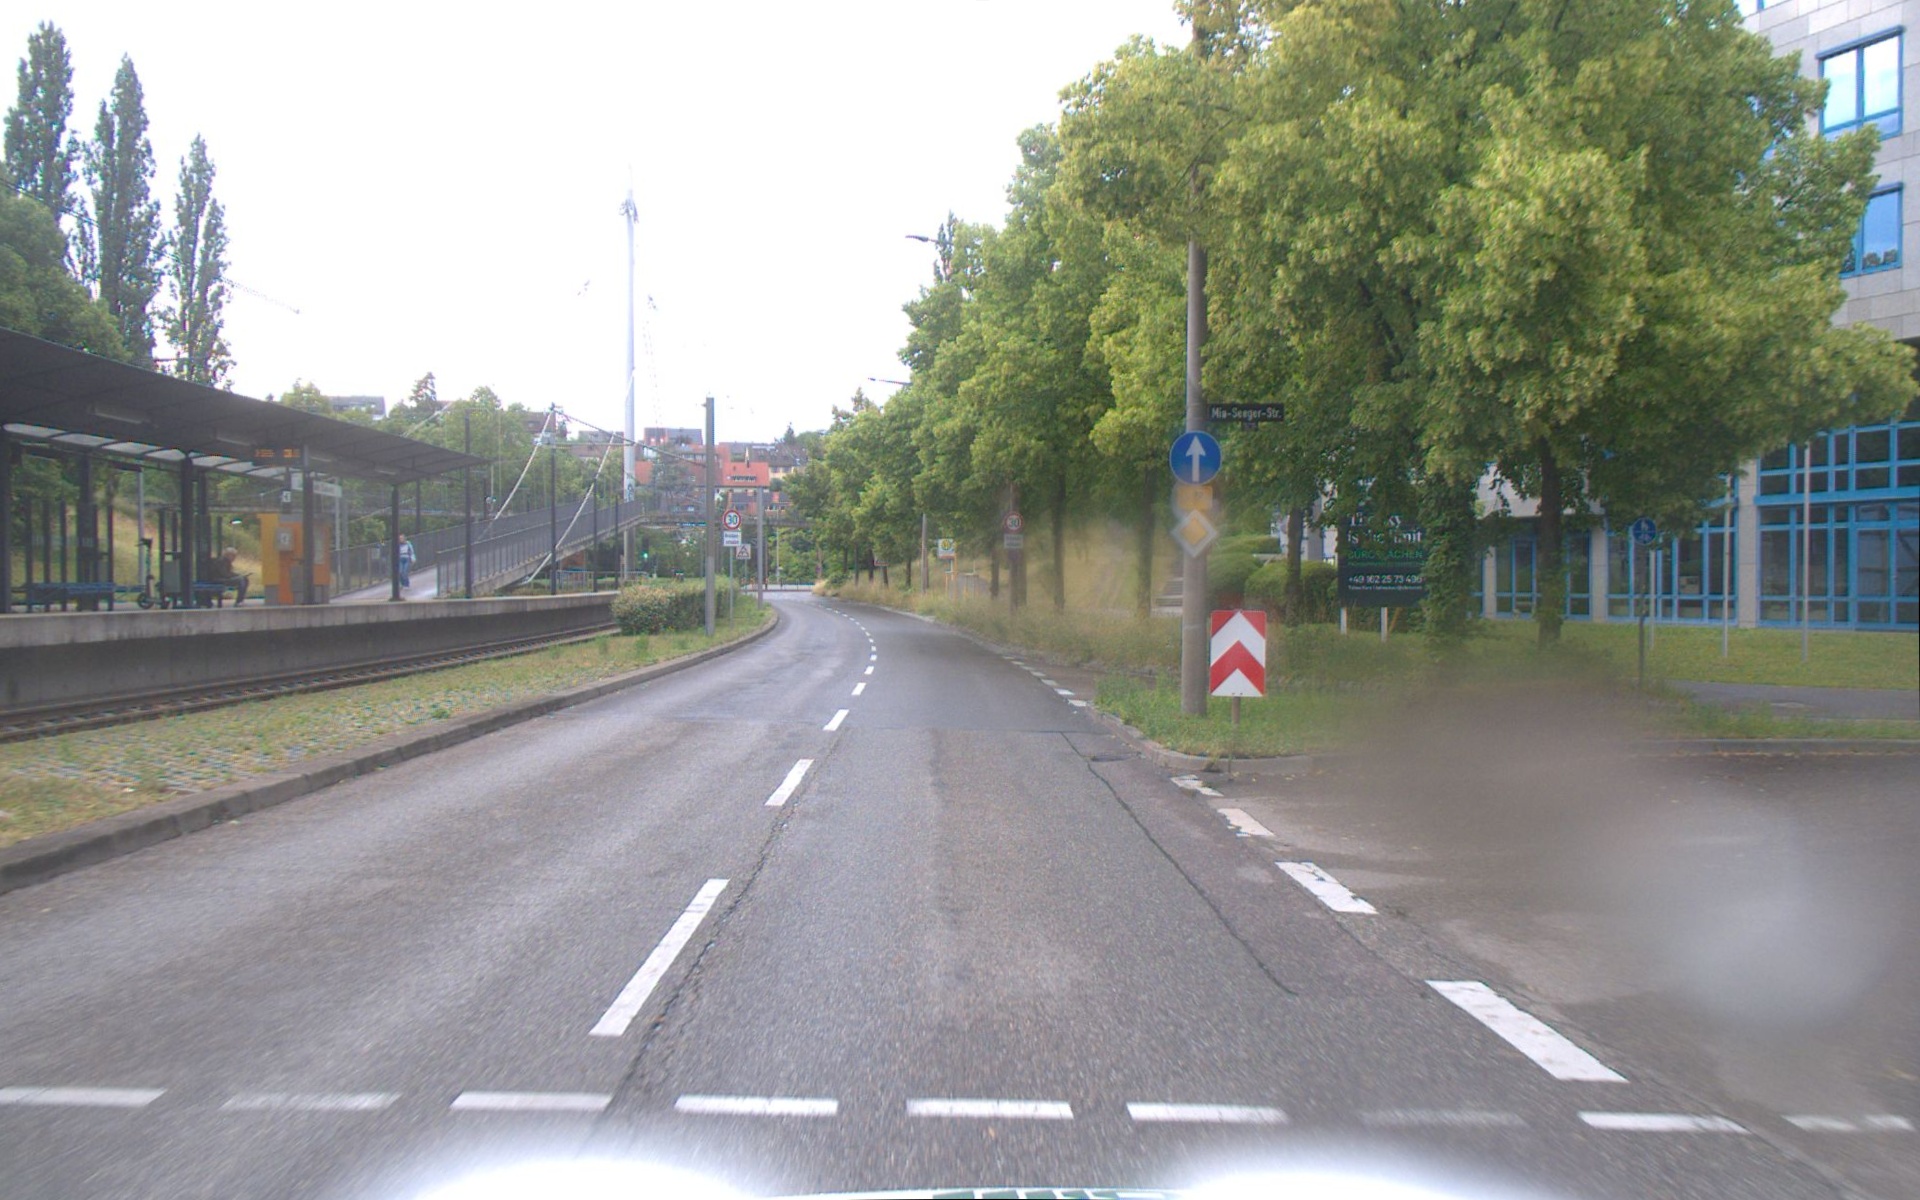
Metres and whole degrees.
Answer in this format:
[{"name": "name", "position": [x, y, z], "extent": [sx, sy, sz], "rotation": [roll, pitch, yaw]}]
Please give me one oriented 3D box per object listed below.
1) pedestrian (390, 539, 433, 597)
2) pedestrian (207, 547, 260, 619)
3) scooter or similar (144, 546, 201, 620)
[{"name": "pedestrian", "position": [-15.839, -0.909, 47.776], "extent": [0.917, 1.639, 1.026], "rotation": [1, -1, -5]}, {"name": "pedestrian", "position": [-14.201, -0.325, 32.337], "extent": [0.738, 1.379, 0.691], "rotation": [1, -1, -5]}, {"name": "scooter or similar", "position": [-13.708, -0.300, 28.782], "extent": [1.277, 1.239, 0.377], "rotation": [1, -2, 42]}]
